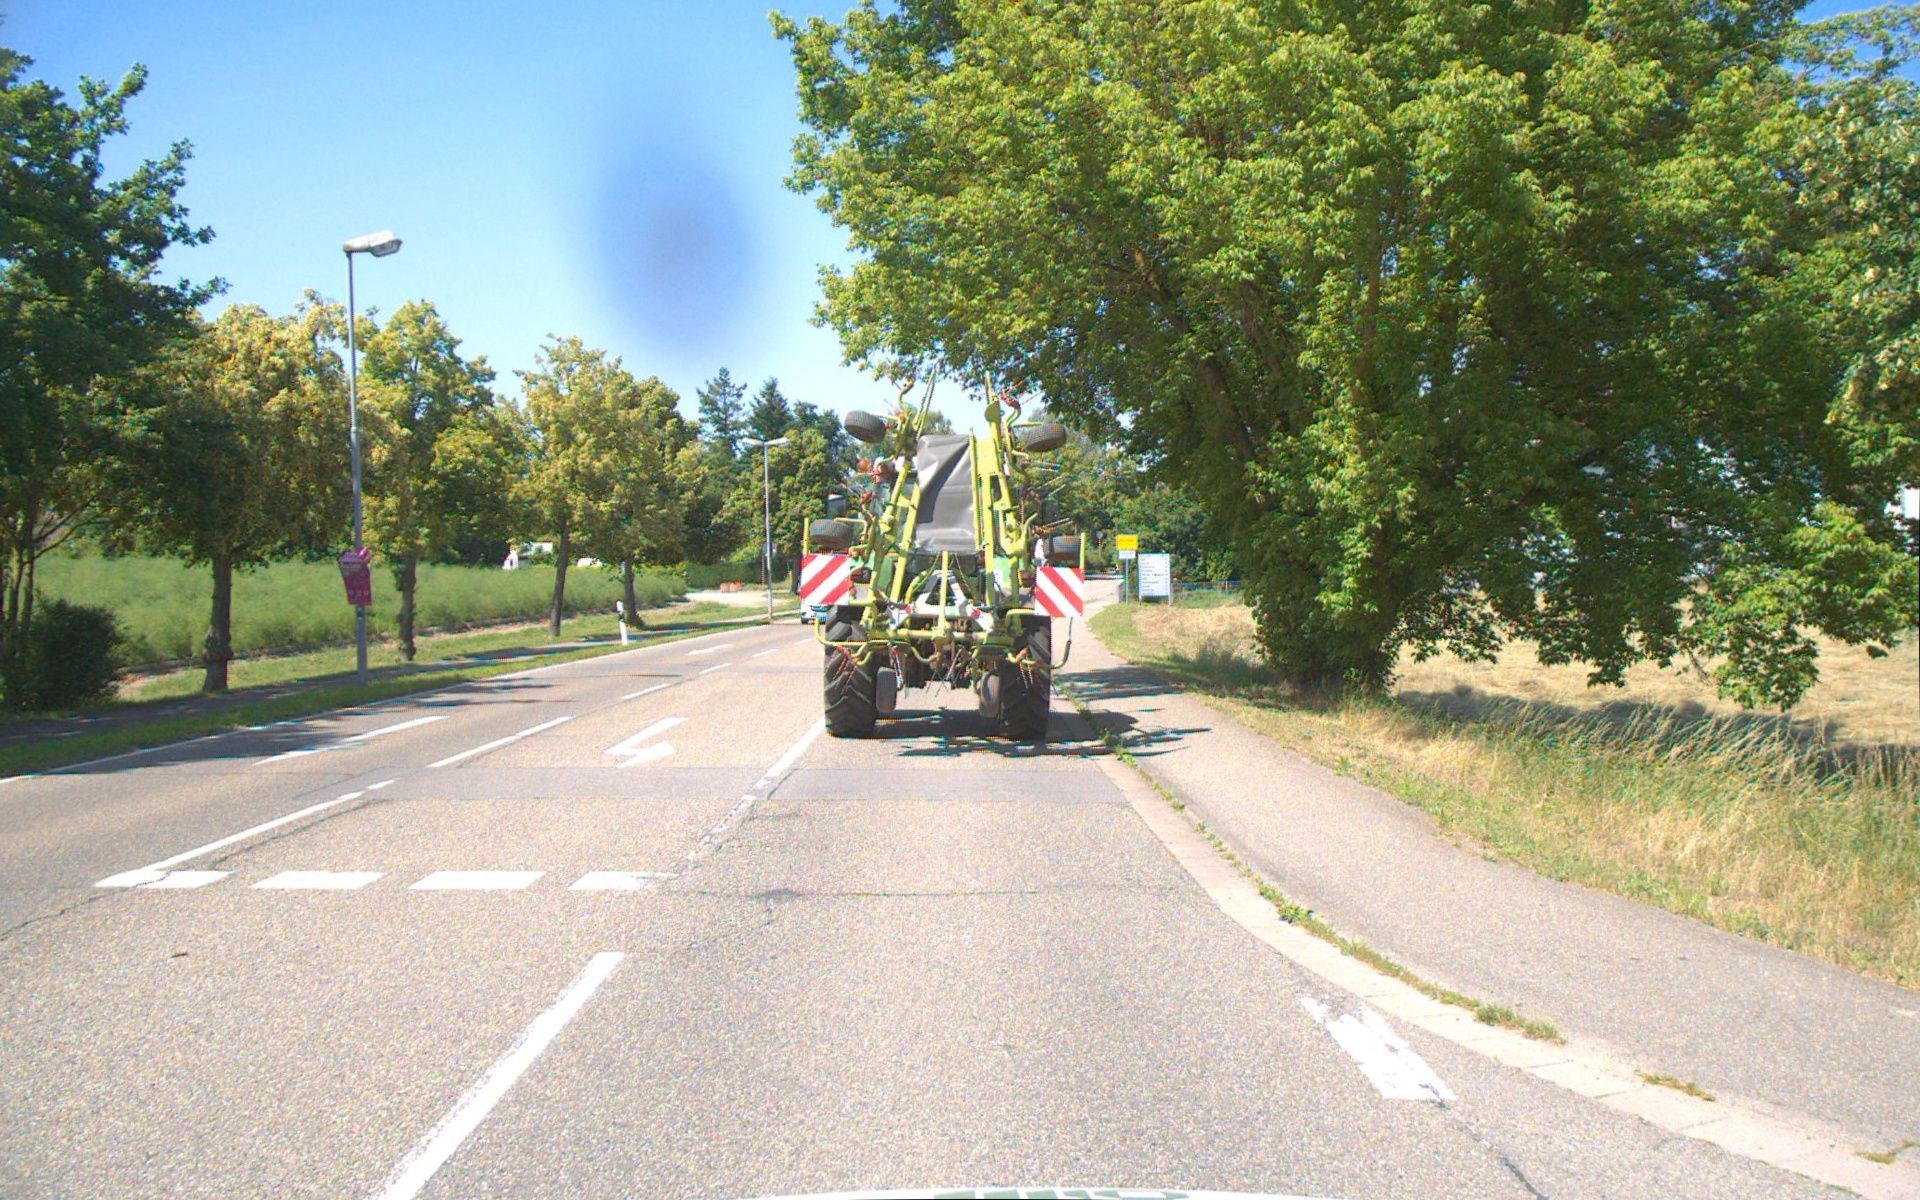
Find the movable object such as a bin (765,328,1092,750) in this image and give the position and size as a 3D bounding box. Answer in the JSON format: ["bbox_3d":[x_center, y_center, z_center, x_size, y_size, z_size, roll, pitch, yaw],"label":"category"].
[{"bbox_3d":[-0.410,-0.589,19.021,2.795,3.603,9.698,0,1,-2],"label":"movable object such as a bin"}]

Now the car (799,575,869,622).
[{"bbox_3d":[-4.150,-0.076,54.997,1.614,1.458,3.899,2,1,6],"label":"car"}]
